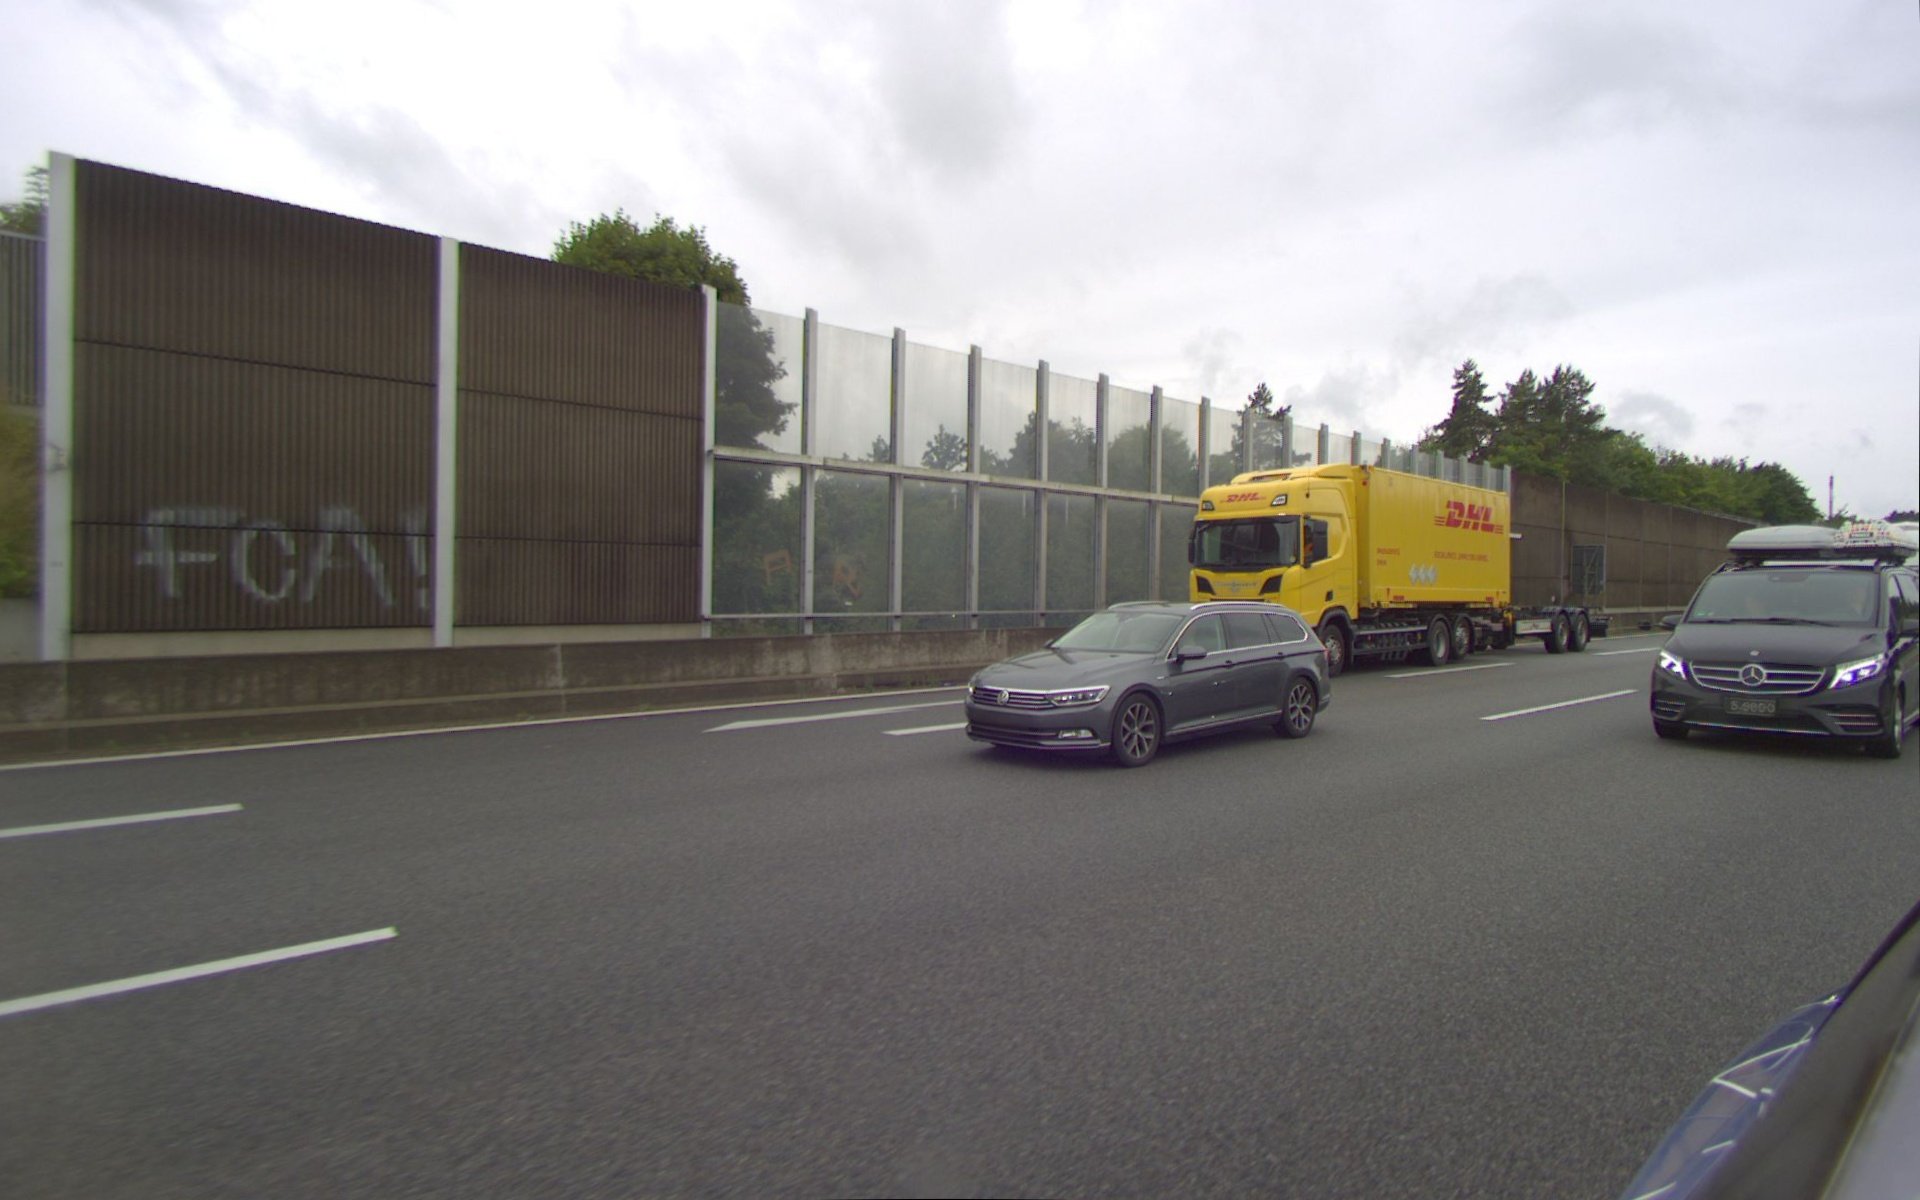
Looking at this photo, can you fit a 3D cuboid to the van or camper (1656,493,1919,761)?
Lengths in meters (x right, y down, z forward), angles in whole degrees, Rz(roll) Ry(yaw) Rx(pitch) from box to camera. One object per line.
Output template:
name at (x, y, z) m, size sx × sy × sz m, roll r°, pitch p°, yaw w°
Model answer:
van or camper at (9.675, 0.218, 11.251) m, size 5.580 × 2.298 × 1.893 m, roll 0°, pitch 0°, yaw -41°

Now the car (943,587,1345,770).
car at (2.029, 0.624, 10.261) m, size 4.394 × 1.475 × 1.665 m, roll -1°, pitch 0°, yaw -42°

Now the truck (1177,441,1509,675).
truck at (8.466, -0.750, 21.463) m, size 9.167 × 4.008 × 2.689 m, roll -1°, pitch -1°, yaw -42°

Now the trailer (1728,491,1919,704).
trailer at (14.465, -0.049, 15.629) m, size 7.381 × 2.675 × 2.726 m, roll 0°, pitch 1°, yaw -41°

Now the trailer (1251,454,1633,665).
trailer at (13.055, -0.834, 25.647) m, size 16.401 × 4.003 × 2.654 m, roll -1°, pitch 0°, yaw -42°

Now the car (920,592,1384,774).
car at (2.215, 0.672, 10.524) m, size 5.196 × 1.445 × 1.943 m, roll 0°, pitch -1°, yaw -41°
